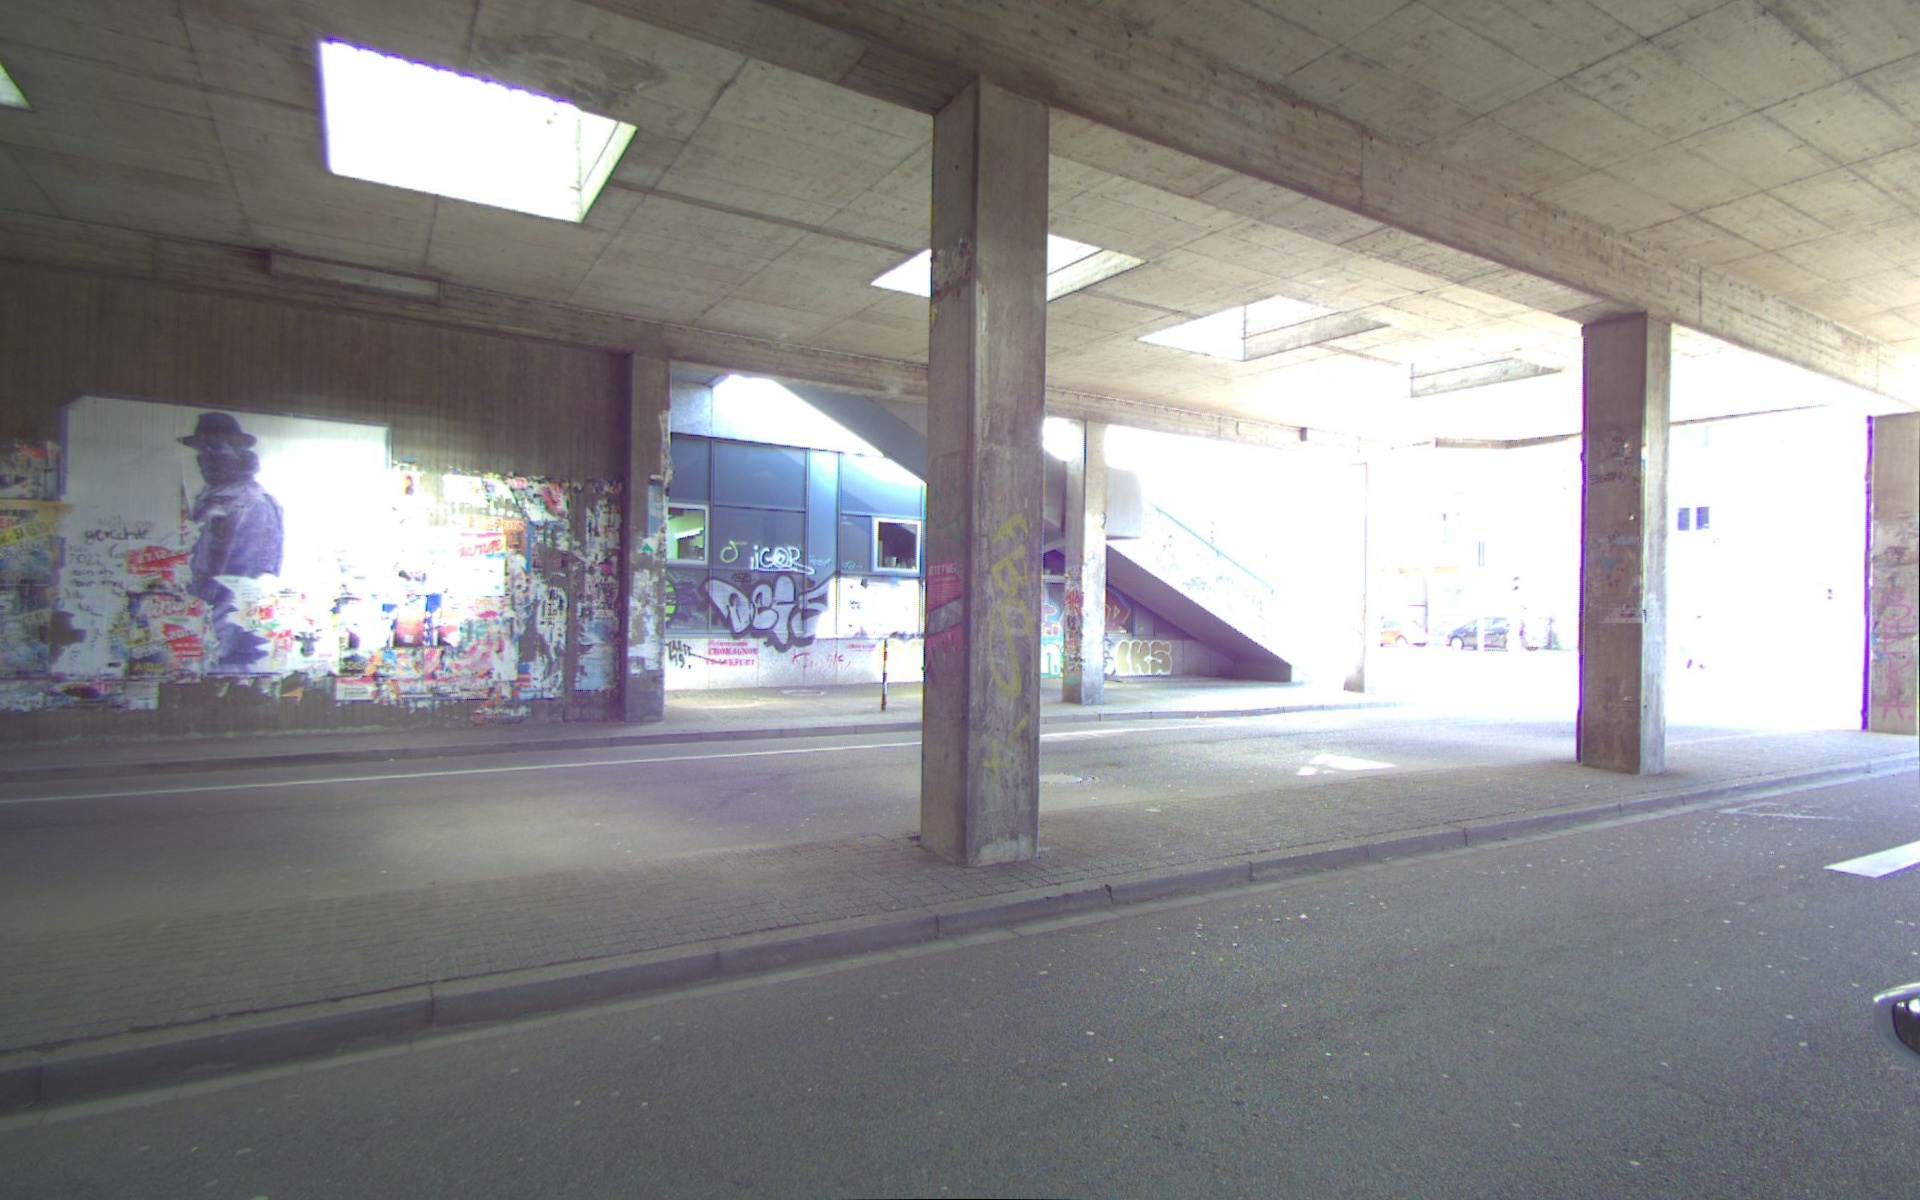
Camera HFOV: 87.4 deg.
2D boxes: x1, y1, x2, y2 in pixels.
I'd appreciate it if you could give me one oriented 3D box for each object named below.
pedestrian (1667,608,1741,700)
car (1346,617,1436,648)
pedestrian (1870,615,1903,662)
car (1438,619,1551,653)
[{"bbox_3d":[15.078,1.079,20.362,0.784,1.785,0.925,2,0,-28],"label":"pedestrian"},{"bbox_3d":[22.555,1.681,52.653,1.905,1.428,3.965,2,0,-32],"label":"car"},{"bbox_3d":[33.406,1.392,36.207,0.732,1.659,0.669,2,0,-30],"label":"pedestrian"},{"bbox_3d":[25.338,1.689,47.793,1.905,1.428,4.382,2,0,-32],"label":"car"}]
